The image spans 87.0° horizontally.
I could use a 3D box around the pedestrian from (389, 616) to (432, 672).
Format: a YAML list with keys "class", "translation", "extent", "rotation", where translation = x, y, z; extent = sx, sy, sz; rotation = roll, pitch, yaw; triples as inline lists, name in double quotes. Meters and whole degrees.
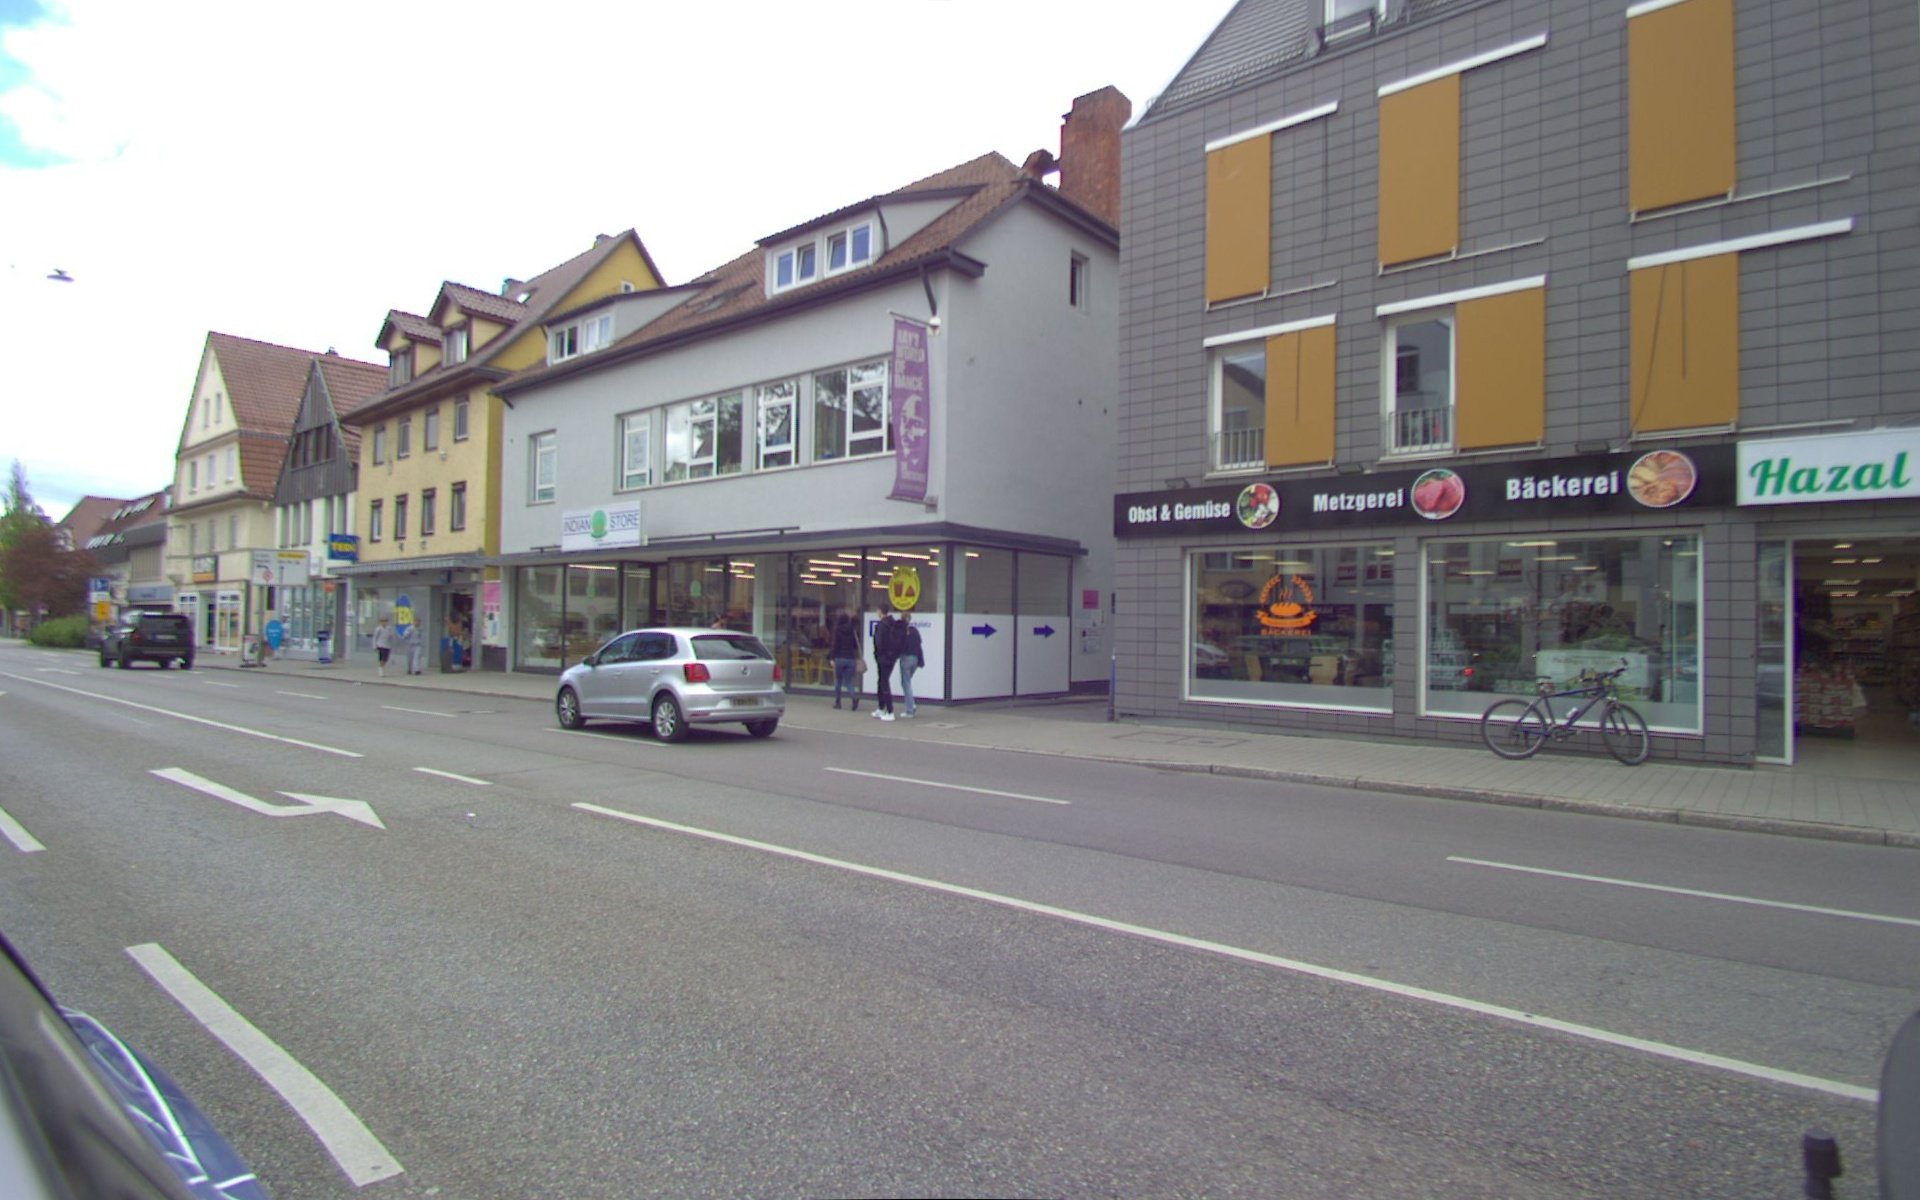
- class: "pedestrian"
  translation: [-15.739, 1.247, 28.978]
  extent: [0.920, 1.595, 0.801]
  rotation: [-1, -2, 42]

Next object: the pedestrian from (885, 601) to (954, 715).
- class: "pedestrian"
  translation: [-0.661, 0.927, 16.497]
  extent: [0.870, 1.795, 0.699]
  rotation: [-1, -2, 42]

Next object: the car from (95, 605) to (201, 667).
- class: "car"
  translation: [-27.864, 1.225, 34.673]
  extent: [4.766, 1.984, 1.903]
  rotation: [-1, -3, 40]

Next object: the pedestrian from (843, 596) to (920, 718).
- class: "pedestrian"
  translation: [-1.241, 0.877, 15.946]
  extent: [1.028, 1.853, 0.699]
  rotation: [-1, -2, 42]

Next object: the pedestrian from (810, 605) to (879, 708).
- class: "pedestrian"
  translation: [-1.988, 0.952, 17.448]
  extent: [0.870, 1.711, 0.795]
  rotation: [-1, -2, 42]

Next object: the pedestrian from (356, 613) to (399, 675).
- class: "pedestrian"
  translation: [-16.327, 1.220, 28.369]
  extent: [0.920, 1.674, 0.801]
  rotation: [-1, -2, 42]

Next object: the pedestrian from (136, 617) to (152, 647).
- class: "pedestrian"
  translation: [-52.649, 2.044, 65.276]
  extent: [0.678, 1.917, 0.665]
  rotation: [-1, -2, 41]

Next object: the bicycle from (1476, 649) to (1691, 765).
- class: "bicycle"
  translation: [6.678, 1.109, 10.911]
  extent: [1.901, 1.109, 0.566]
  rotation: [-1, -2, 41]

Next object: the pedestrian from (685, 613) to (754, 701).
- class: "pedestrian"
  translation: [-4.723, 1.095, 19.865]
  extent: [0.871, 1.679, 0.988]
  rotation: [-1, -2, 42]

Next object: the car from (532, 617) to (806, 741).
- class: "car"
  translation: [-4.122, 0.984, 14.035]
  extent: [4.034, 1.459, 1.740]
  rotation: [-1, -2, 41]
